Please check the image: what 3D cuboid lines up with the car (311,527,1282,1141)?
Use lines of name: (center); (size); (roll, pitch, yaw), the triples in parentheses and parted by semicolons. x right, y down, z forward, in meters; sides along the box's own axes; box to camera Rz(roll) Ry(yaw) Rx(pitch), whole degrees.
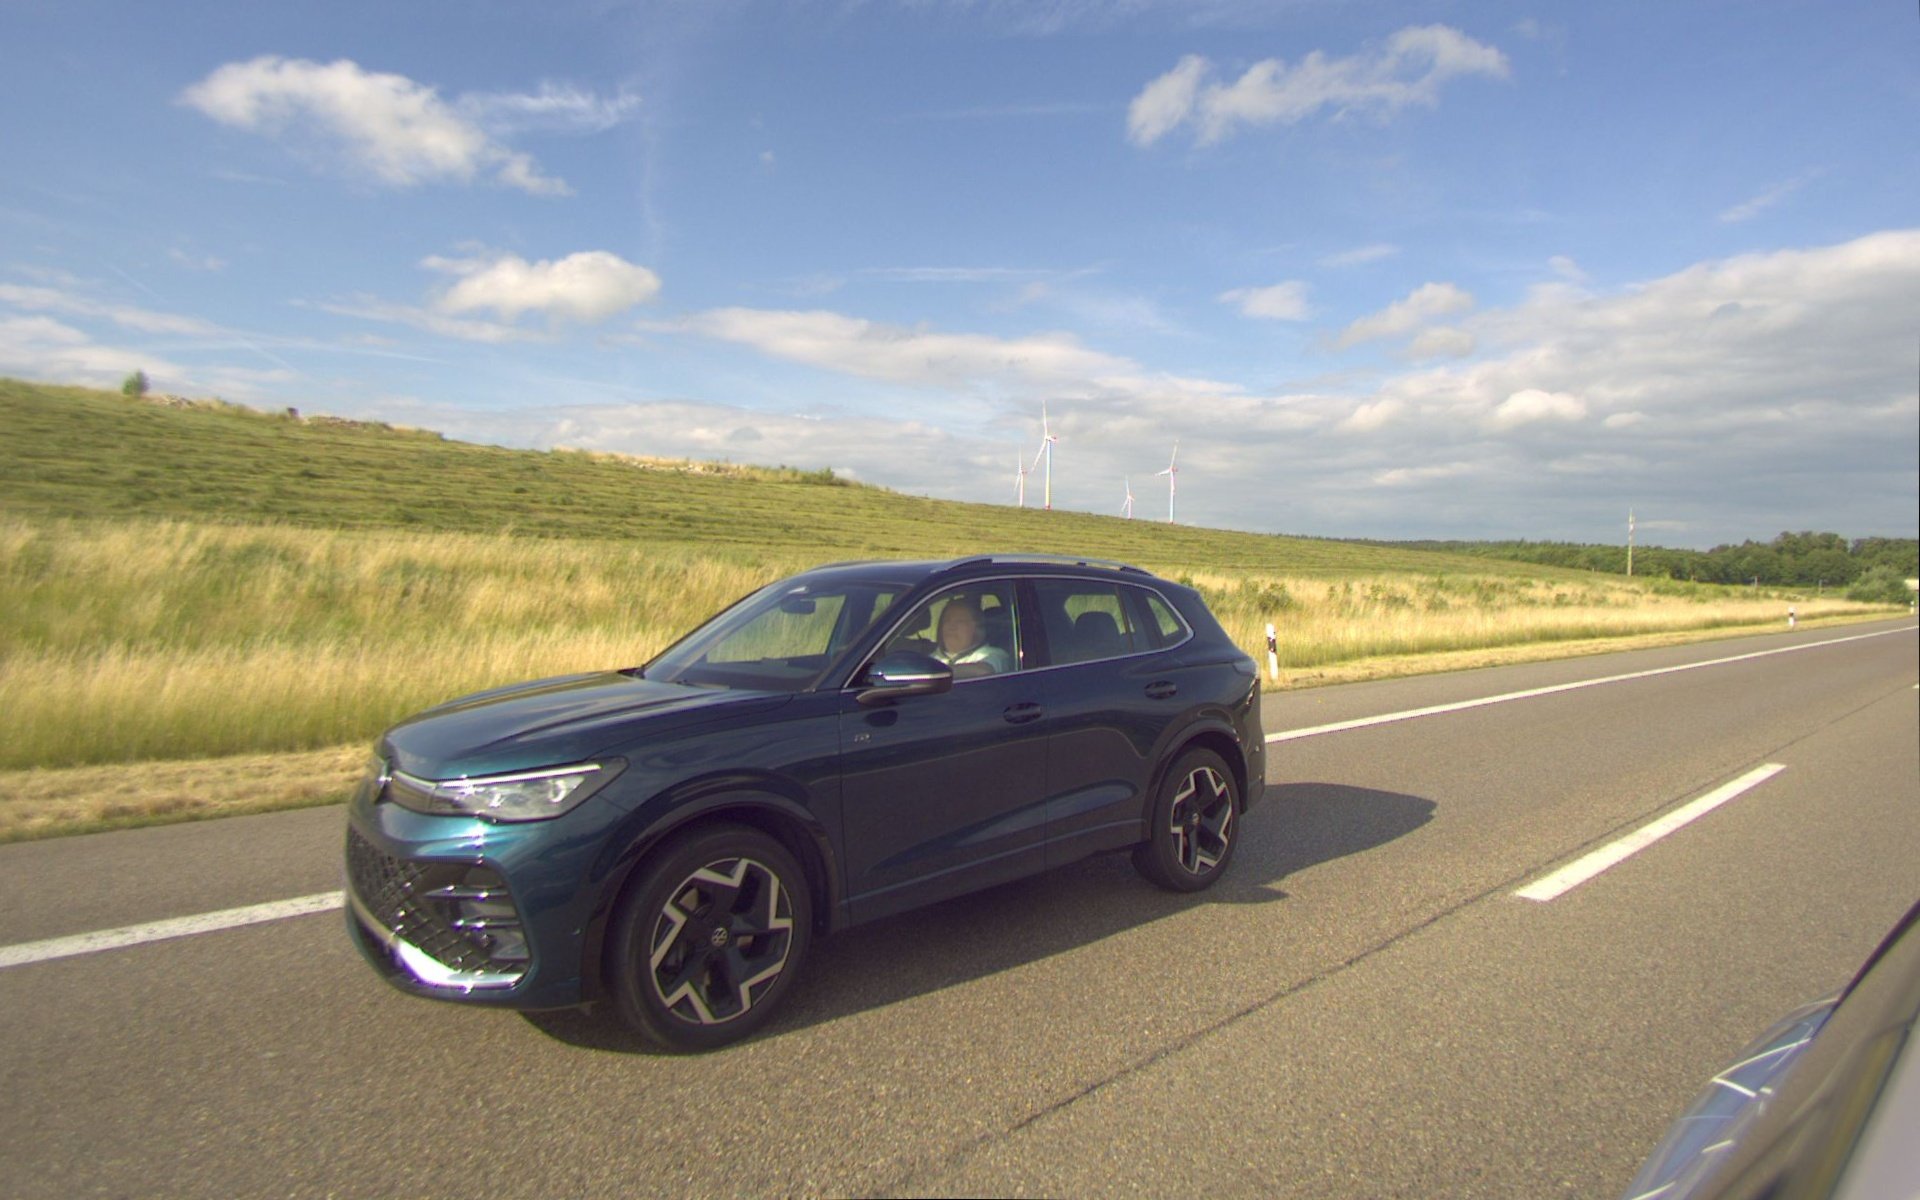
car: (-0.447, 0.585, 4.733); (4.161, 1.621, 1.824); (-1, 1, -41)
